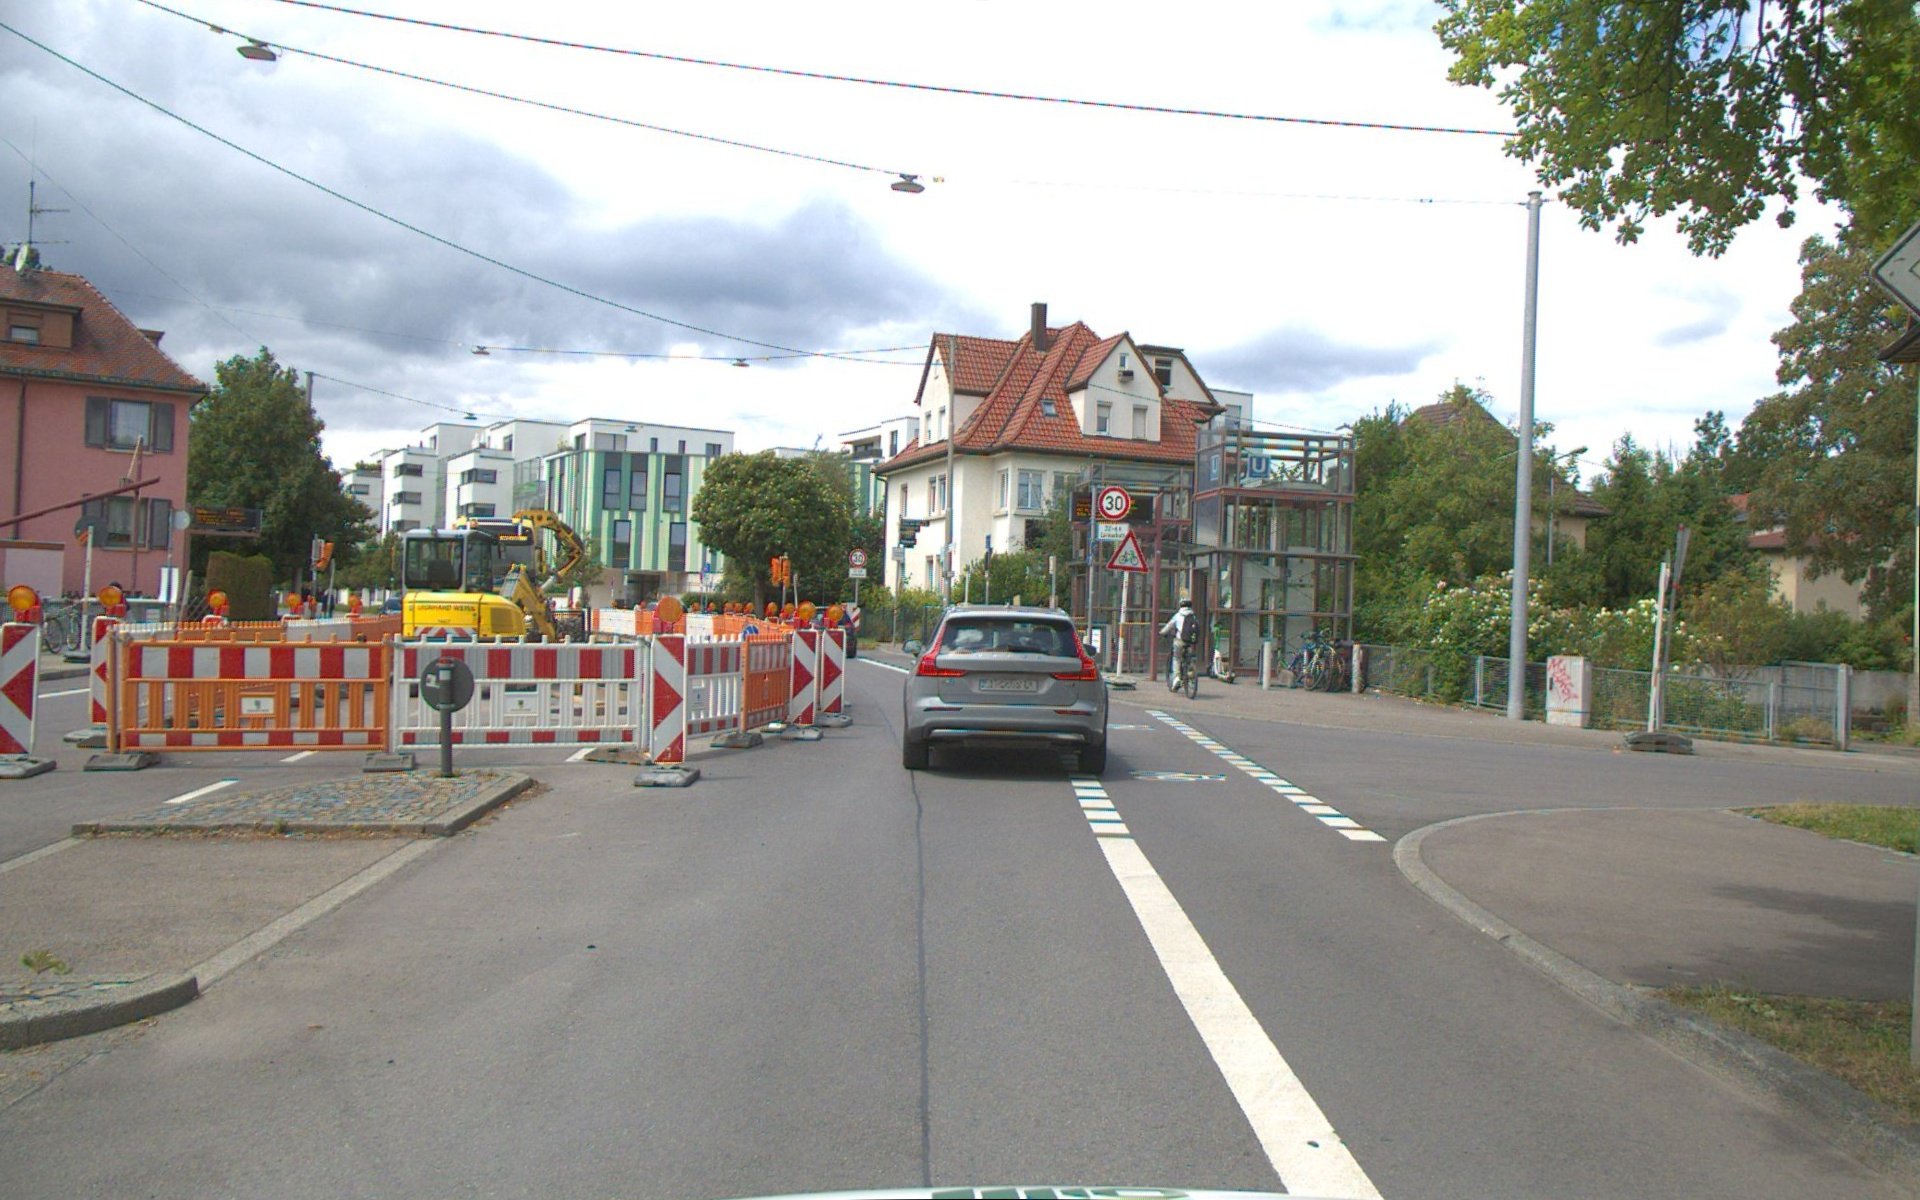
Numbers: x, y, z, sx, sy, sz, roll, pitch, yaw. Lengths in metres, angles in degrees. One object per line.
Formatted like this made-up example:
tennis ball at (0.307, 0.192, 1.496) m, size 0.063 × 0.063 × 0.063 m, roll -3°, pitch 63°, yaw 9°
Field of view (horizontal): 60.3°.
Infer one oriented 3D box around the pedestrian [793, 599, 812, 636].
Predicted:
pedestrian at (-6.642, 0.738, 69.541) m, size 0.627 × 1.567 × 0.517 m, roll 1°, pitch -1°, yaw -28°

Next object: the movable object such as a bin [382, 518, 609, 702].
movable object such as a bin at (-7.488, 0.170, 27.485) m, size 1.953 × 2.671 × 6.521 m, roll 1°, pitch 0°, yaw -1°

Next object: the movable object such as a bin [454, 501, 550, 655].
movable object such as a bin at (-14.311, -0.591, 52.121) m, size 2.548 × 4.295 × 11.077 m, roll 1°, pitch 0°, yaw -15°

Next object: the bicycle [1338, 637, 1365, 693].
bicycle at (7.440, 1.226, 31.469) m, size 0.211 × 1.026 × 1.189 m, roll 1°, pitch 0°, yaw -1°

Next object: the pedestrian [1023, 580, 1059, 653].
pedestrian at (1.883, 0.386, 38.352) m, size 0.587 × 1.610 × 0.400 m, roll 7°, pitch -4°, yaw -11°

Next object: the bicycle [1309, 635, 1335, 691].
bicycle at (6.888, 1.190, 31.482) m, size 0.211 × 1.031 × 1.169 m, roll 1°, pitch -1°, yaw -1°

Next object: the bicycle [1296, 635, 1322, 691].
bicycle at (6.629, 1.188, 31.452) m, size 0.211 × 1.018 × 1.206 m, roll 1°, pitch 0°, yaw -1°

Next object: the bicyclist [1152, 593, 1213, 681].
bicyclist at (3.784, 0.616, 28.207) m, size 0.644 × 1.440 × 1.176 m, roll 2°, pitch 0°, yaw -11°

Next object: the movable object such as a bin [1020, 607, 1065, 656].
movable object such as a bin at (2.584, 0.985, 51.893) m, size 1.243 × 1.496 × 1.003 m, roll 2°, pitch -1°, yaw -4°

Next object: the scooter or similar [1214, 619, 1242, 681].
scooter or similar at (5.248, 0.966, 32.406) m, size 0.211 × 1.131 × 0.944 m, roll 1°, pitch 3°, yaw -9°

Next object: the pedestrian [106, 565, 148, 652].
pedestrian at (-18.559, 0.190, 36.872) m, size 0.667 × 1.919 × 0.583 m, roll 1°, pitch -1°, yaw -11°

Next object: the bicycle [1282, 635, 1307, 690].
bicycle at (6.353, 1.181, 31.453) m, size 0.211 × 1.006 × 1.204 m, roll 1°, pitch 0°, yaw -1°

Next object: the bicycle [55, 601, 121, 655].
bicycle at (-18.480, 0.576, 35.102) m, size 0.528 × 1.101 × 2.128 m, roll 1°, pitch 0°, yaw -8°

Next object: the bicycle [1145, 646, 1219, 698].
bicycle at (3.770, 1.217, 28.239) m, size 0.624 × 0.766 × 2.057 m, roll 2°, pitch 0°, yaw -10°

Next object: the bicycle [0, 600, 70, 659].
bicycle at (-18.123, 0.564, 32.339) m, size 0.528 × 1.101 × 2.128 m, roll 1°, pitch 0°, yaw -8°

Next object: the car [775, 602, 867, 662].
car at (-3.979, 0.881, 46.898) m, size 1.824 × 1.539 × 3.983 m, roll 3°, pitch -1°, yaw -16°

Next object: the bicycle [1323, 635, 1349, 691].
bicycle at (7.149, 1.196, 31.471) m, size 0.211 × 1.026 × 1.189 m, roll 1°, pitch -1°, yaw -1°

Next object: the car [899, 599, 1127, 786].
car at (0.374, 0.790, 15.815) m, size 1.817 × 1.539 × 3.997 m, roll 1°, pitch 0°, yaw -3°
